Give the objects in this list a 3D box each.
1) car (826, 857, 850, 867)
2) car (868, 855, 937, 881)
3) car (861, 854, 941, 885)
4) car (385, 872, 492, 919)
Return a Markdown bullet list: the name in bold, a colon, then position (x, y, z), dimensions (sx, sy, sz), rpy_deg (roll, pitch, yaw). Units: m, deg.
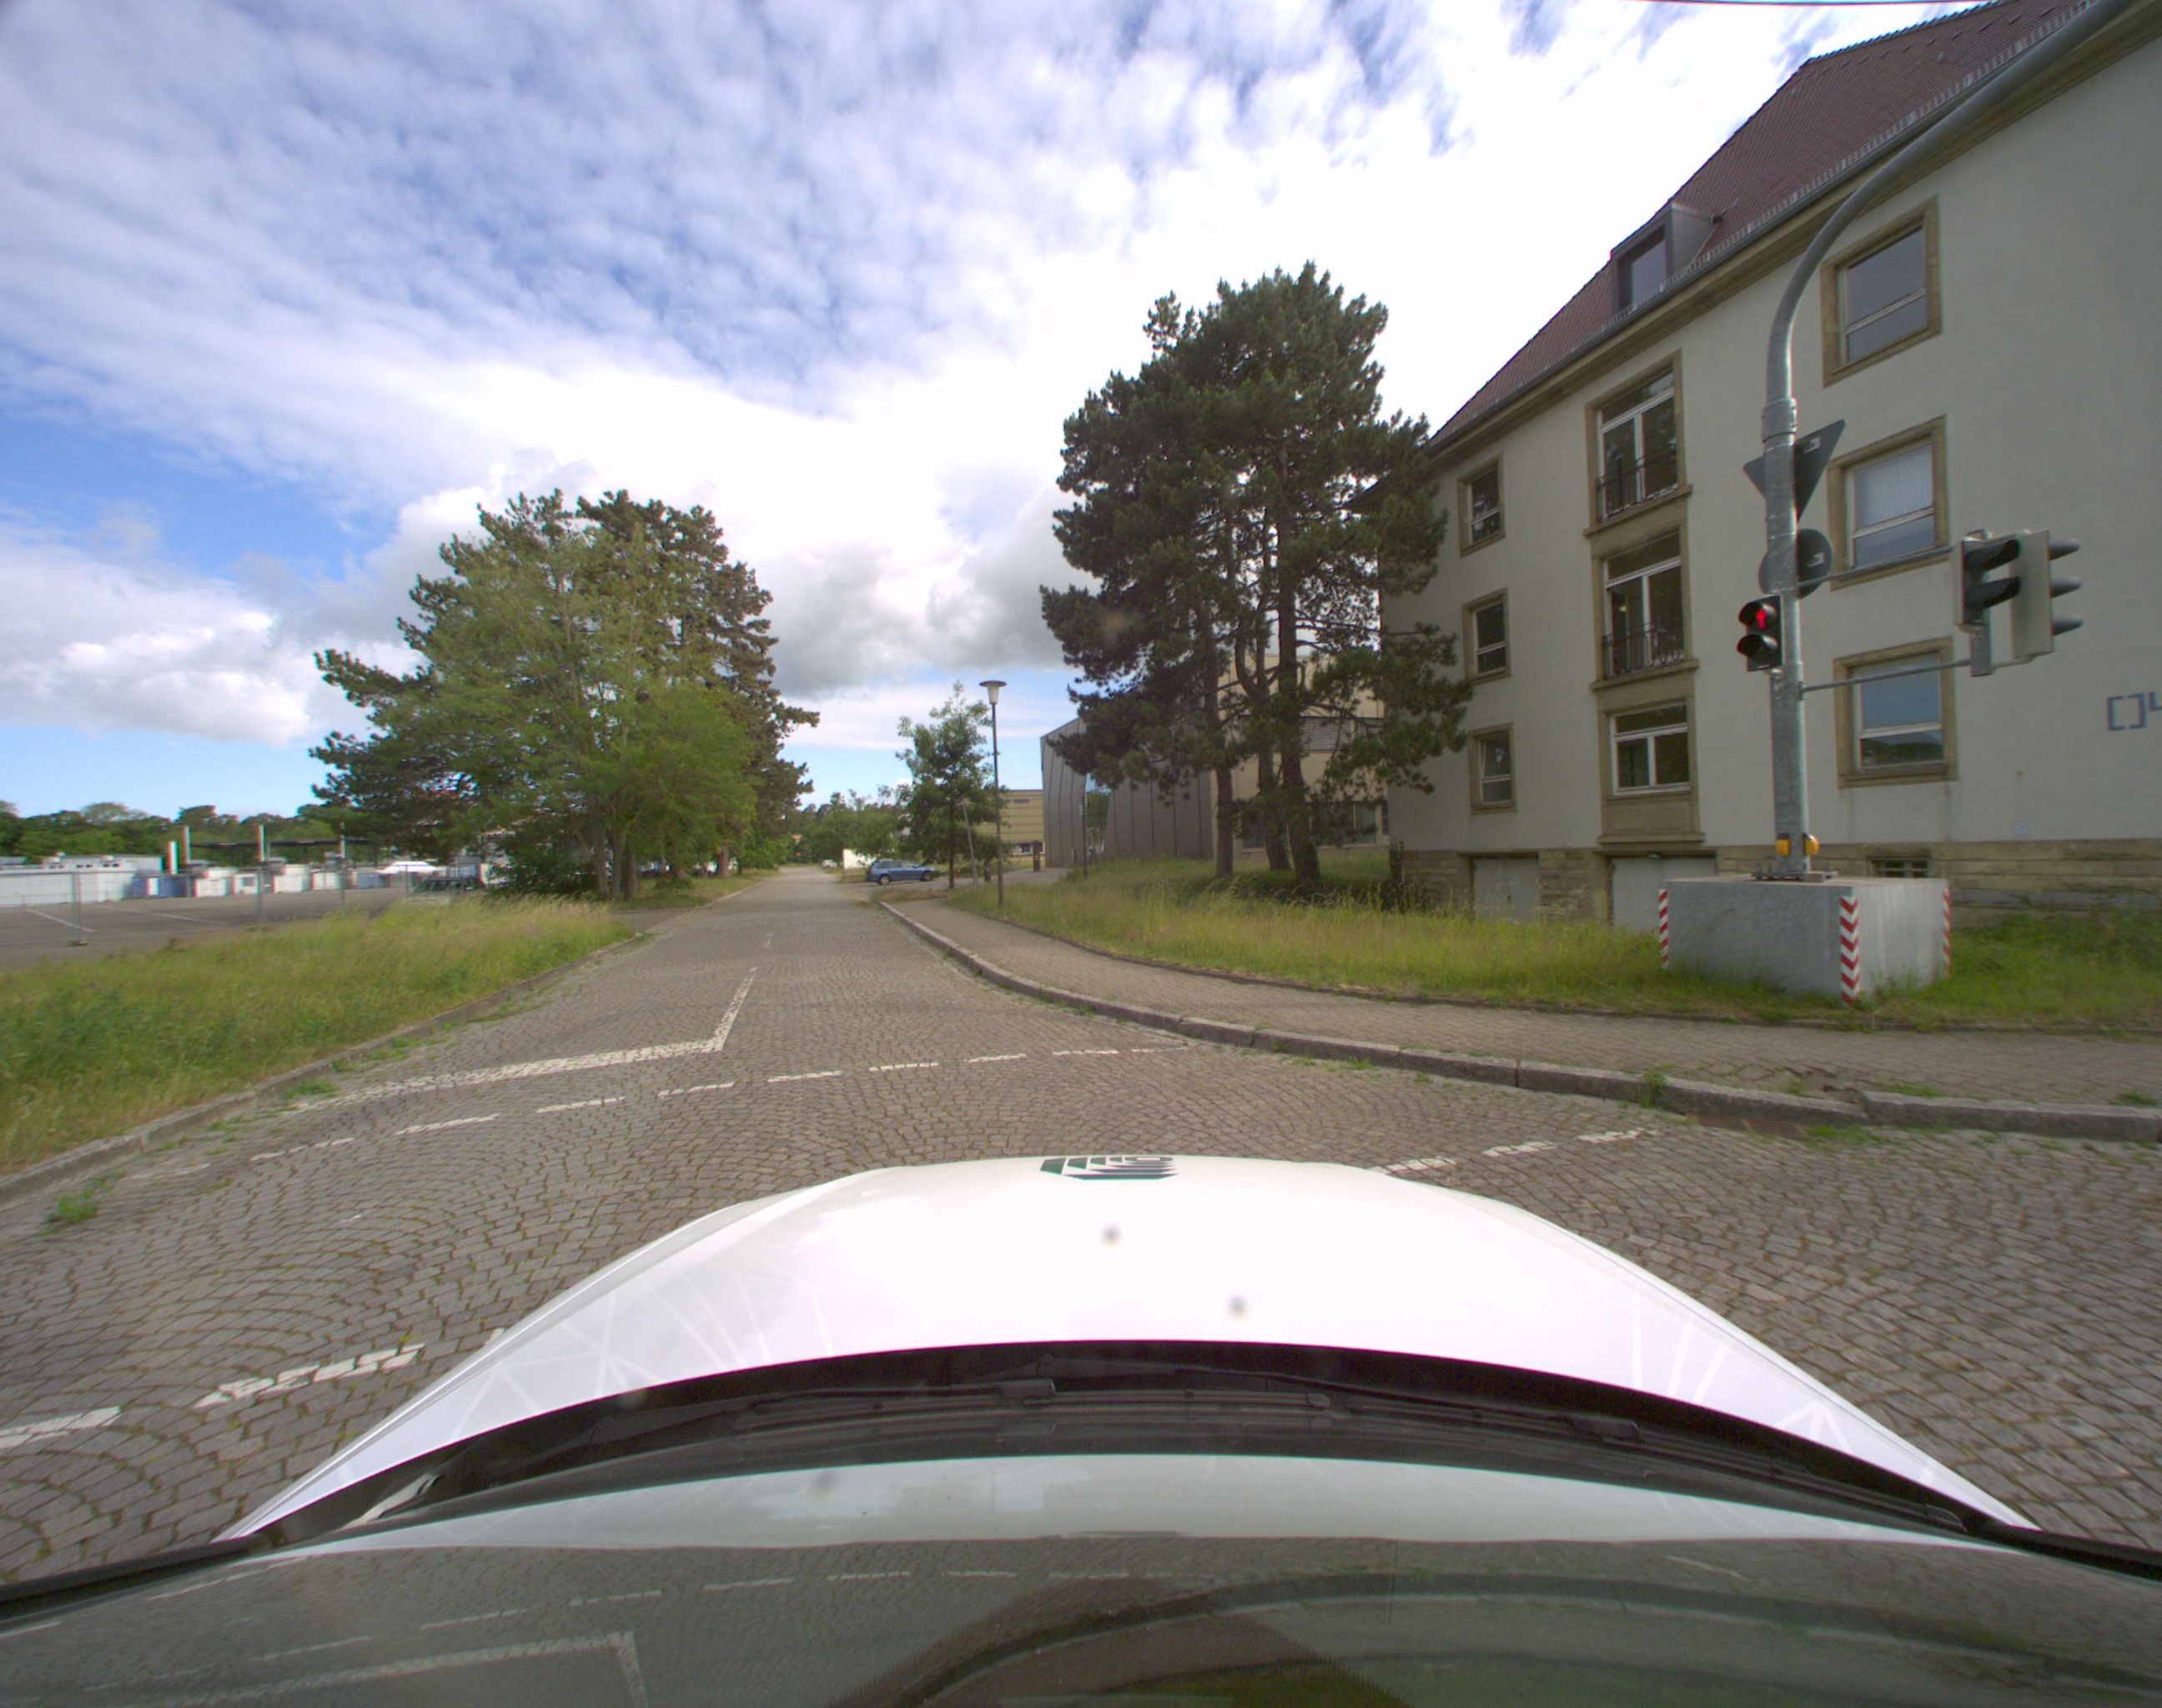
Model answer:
- **car**: position (-47.368, 1.622, 158.608), dimensions (4.366, 1.780, 1.914), rpy_deg (-2, 0, -18)
- **car**: position (-12.701, 0.952, 57.893), dimensions (4.531, 1.531, 1.988), rpy_deg (-4, 1, -19)
- **car**: position (-11.225, 0.944, 50.665), dimensions (4.537, 1.531, 1.985), rpy_deg (-4, 1, -22)
- **car**: position (-23.995, 1.491, 30.602), dimensions (1.926, 1.476, 4.338), rpy_deg (-2, 0, -21)
